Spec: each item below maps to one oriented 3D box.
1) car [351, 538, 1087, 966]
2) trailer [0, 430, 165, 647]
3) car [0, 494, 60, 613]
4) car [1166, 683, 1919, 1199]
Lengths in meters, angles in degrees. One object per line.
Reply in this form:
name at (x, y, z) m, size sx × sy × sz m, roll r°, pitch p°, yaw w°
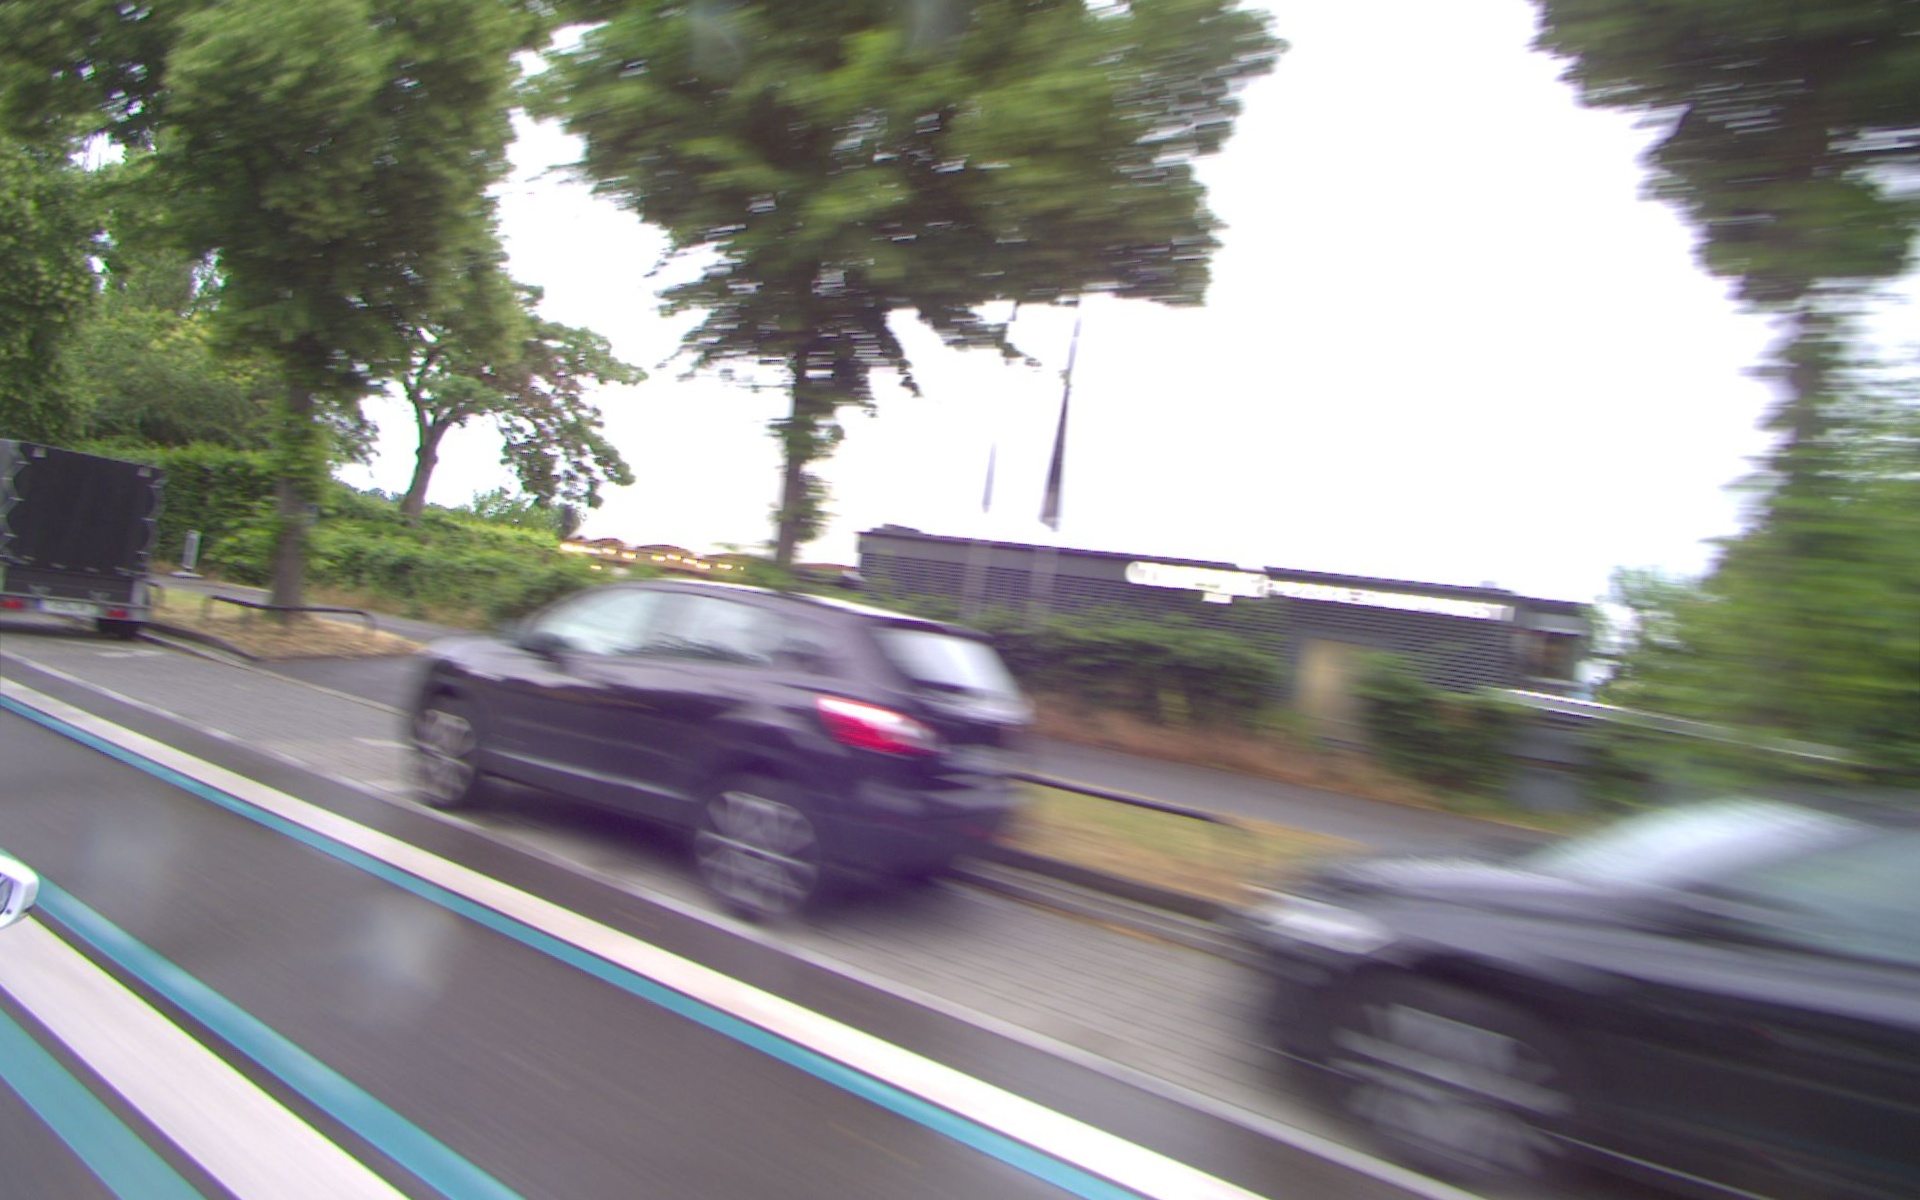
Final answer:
car at (-1.607, 0.688, 6.148) m, size 4.268 × 1.588 × 1.694 m, roll 6°, pitch -4°, yaw 32°
trailer at (-11.576, -0.808, 12.479) m, size 3.505 × 2.295 × 1.349 m, roll 6°, pitch -2°, yaw 32°
car at (-15.350, -0.904, 14.600) m, size 4.335 × 1.603 × 1.761 m, roll 6°, pitch -2°, yaw 26°
car at (2.911, 1.278, 3.314) m, size 3.932 × 1.442 × 1.694 m, roll 6°, pitch -2°, yaw 29°
